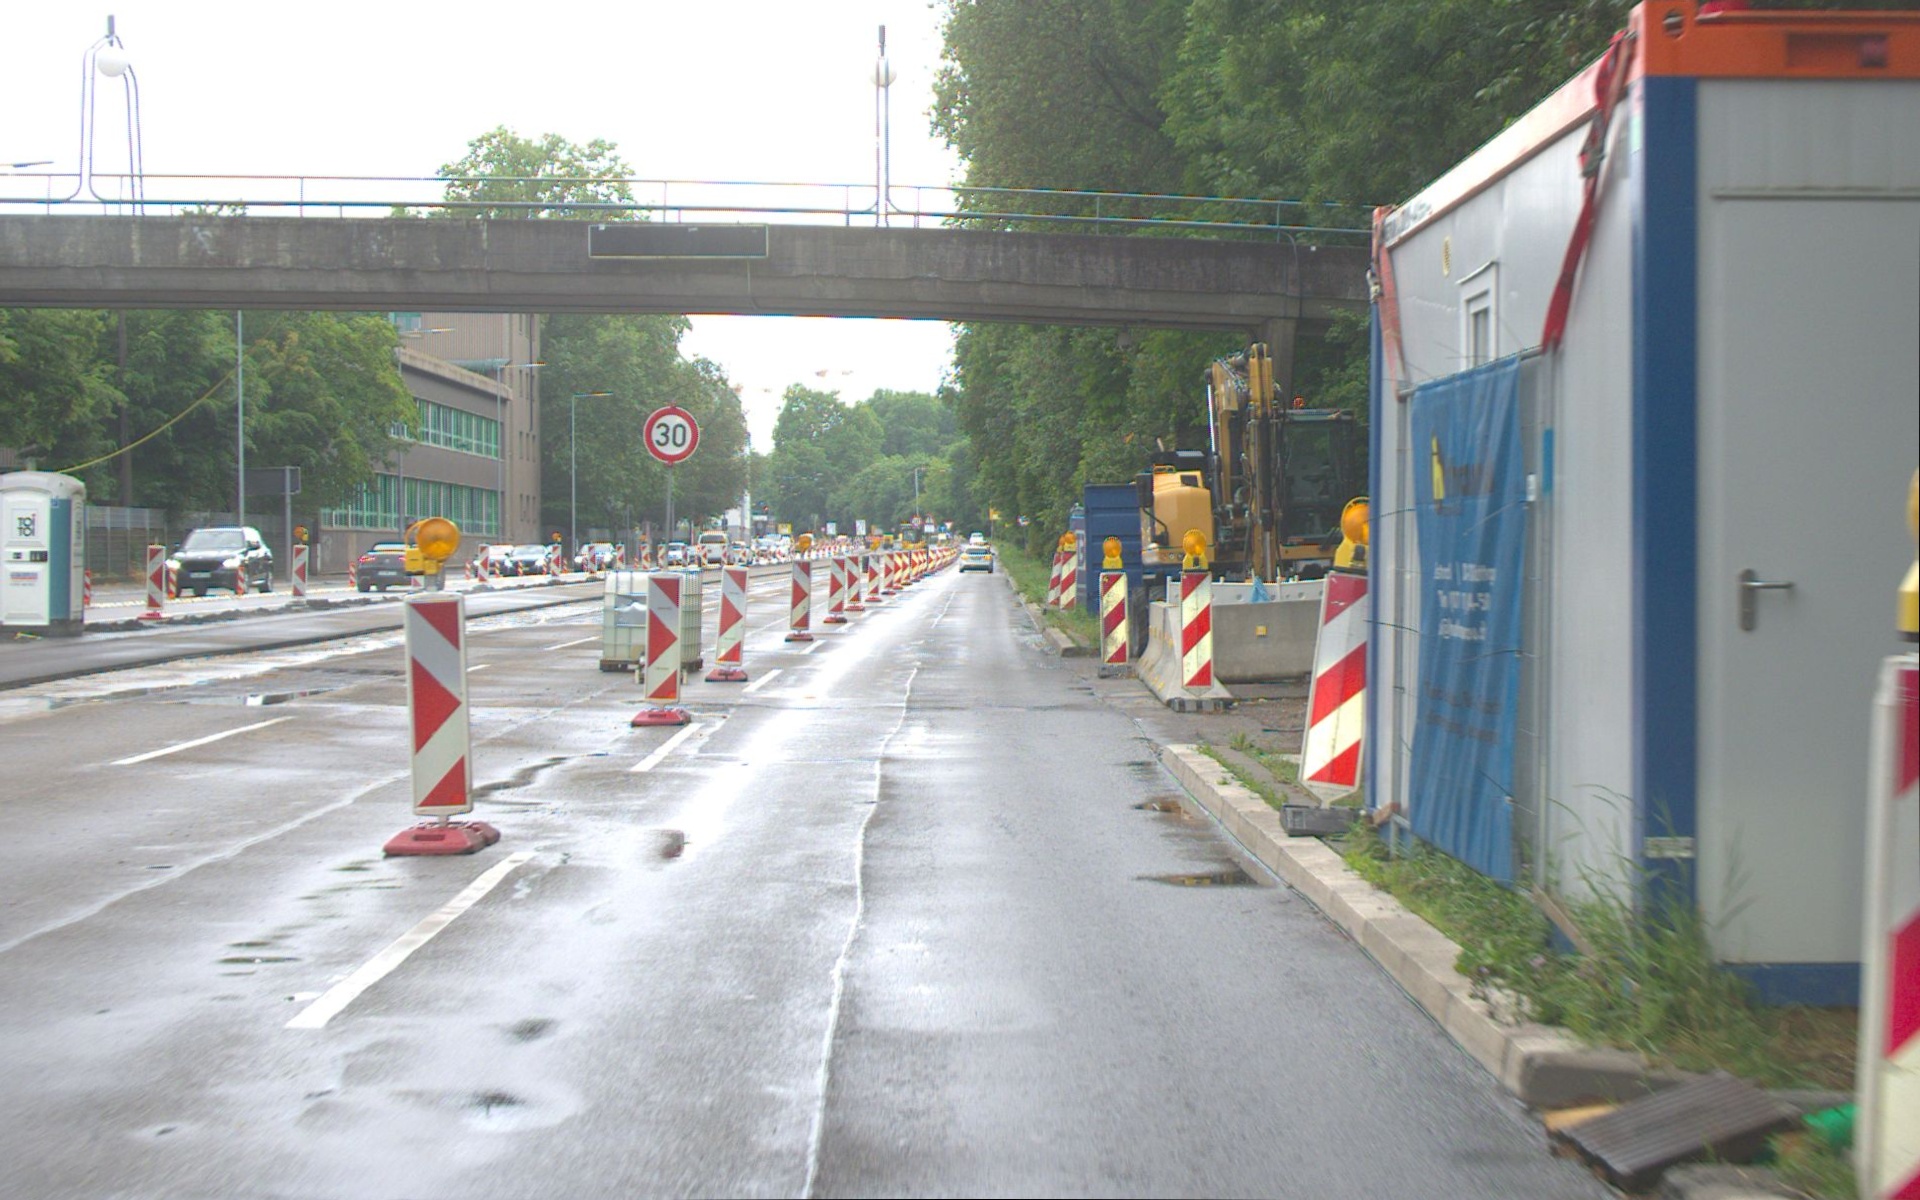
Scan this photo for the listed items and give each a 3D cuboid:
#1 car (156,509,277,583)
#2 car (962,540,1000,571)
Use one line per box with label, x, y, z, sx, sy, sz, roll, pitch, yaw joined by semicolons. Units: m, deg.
car;-18.713;-1.353;86.743;1.971;1.800;4.607;-1;1;1
car;1.141;-2.401;185.421;1.993;1.634;4.000;-1;1;0
